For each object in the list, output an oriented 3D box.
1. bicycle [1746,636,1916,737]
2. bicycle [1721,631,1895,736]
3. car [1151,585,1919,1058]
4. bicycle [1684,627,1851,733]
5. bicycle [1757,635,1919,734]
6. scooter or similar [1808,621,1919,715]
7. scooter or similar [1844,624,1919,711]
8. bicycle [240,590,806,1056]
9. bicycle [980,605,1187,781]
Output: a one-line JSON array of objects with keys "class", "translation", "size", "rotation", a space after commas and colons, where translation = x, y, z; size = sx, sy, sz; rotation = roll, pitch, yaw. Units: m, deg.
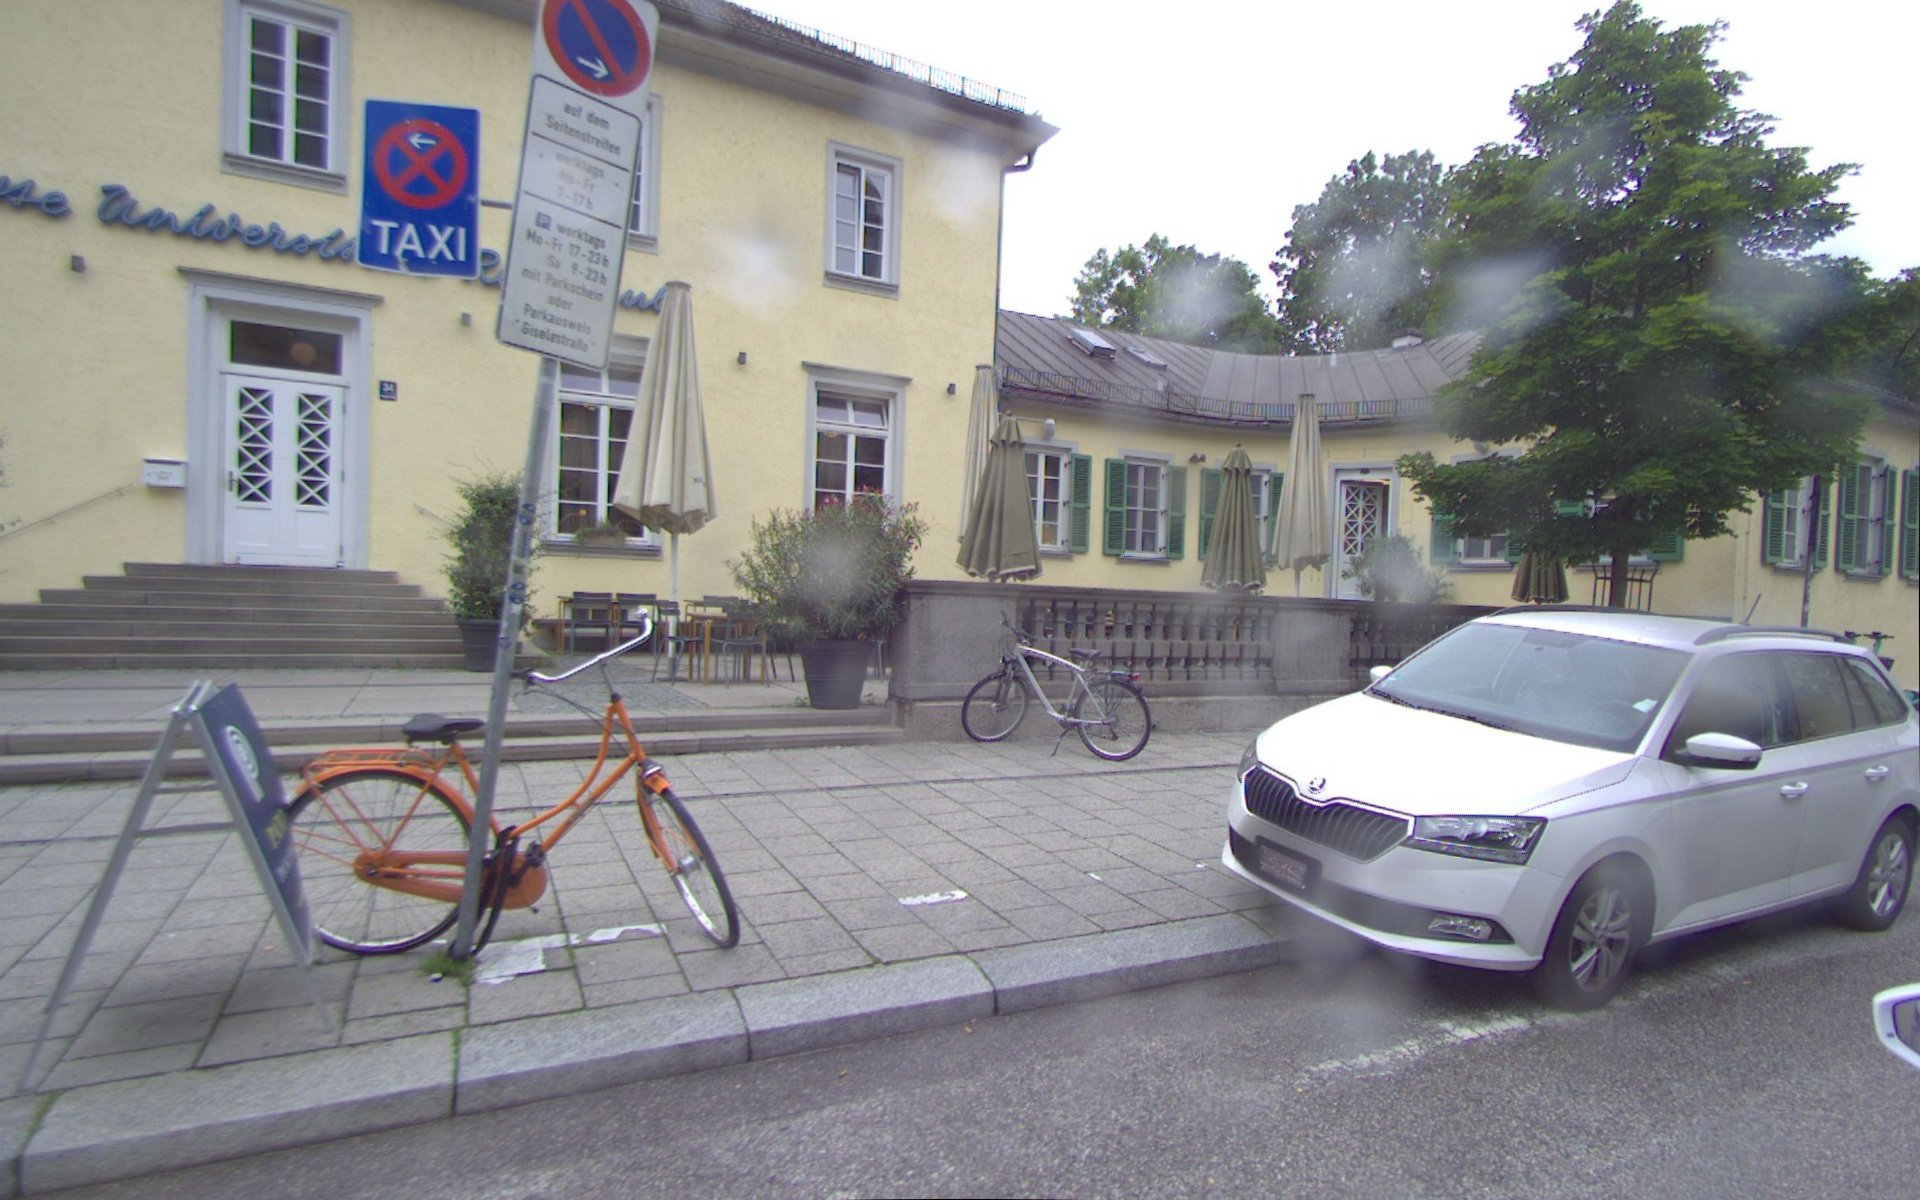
[{"class": "bicycle", "translation": [11.331, 1.098, 13.129], "size": [0.382, 1.152, 1.622], "rotation": [2, 1, -28]}, {"class": "bicycle", "translation": [10.957, 1.046, 13.049], "size": [0.348, 1.187, 1.694], "rotation": [2, 1, -28]}, {"class": "car", "translation": [3.293, 0.794, 5.099], "size": [4.405, 1.512, 1.718], "rotation": [2, 2, -28]}, {"class": "bicycle", "translation": [10.277, 0.983, 12.857], "size": [0.459, 1.189, 1.627], "rotation": [2, 1, -19]}, {"class": "bicycle", "translation": [11.754, 1.100, 13.493], "size": [0.633, 1.164, 1.486], "rotation": [2, 1, -24]}, {"class": "scooter or similar", "translation": [13.738, 1.024, 15.272], "size": [1.326, 1.361, 0.376], "rotation": [2, 1, 0]}, {"class": "scooter or similar", "translation": [14.819, 1.073, 15.939], "size": [1.229, 1.331, 0.364], "rotation": [2, 1, -3]}, {"class": "bicycle", "translation": [-1.484, 0.693, 3.663], "size": [1.670, 1.387, 0.778], "rotation": [2, 1, -20]}, {"class": "bicycle", "translation": [0.995, 0.708, 8.160], "size": [1.538, 1.279, 0.571], "rotation": [2, 1, 24]}]
